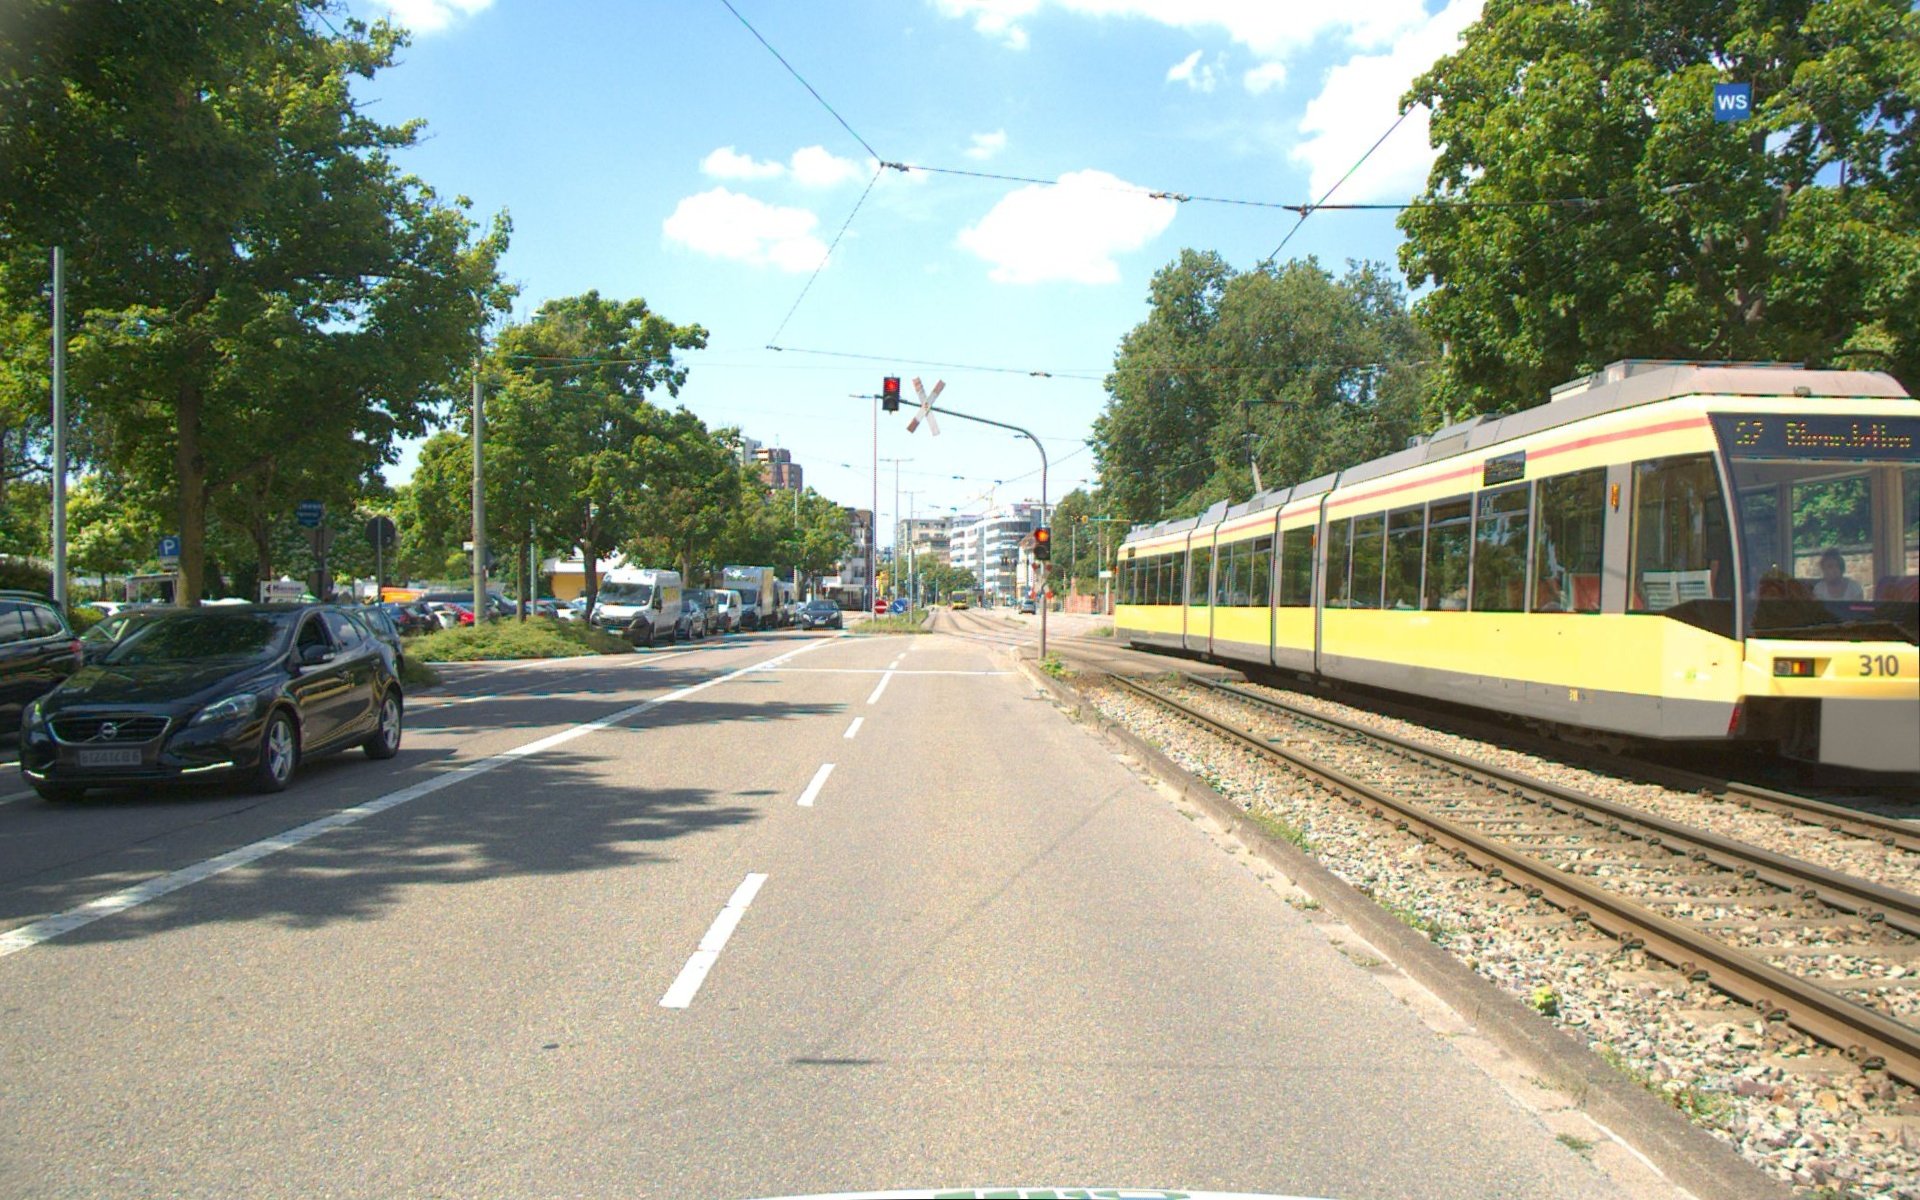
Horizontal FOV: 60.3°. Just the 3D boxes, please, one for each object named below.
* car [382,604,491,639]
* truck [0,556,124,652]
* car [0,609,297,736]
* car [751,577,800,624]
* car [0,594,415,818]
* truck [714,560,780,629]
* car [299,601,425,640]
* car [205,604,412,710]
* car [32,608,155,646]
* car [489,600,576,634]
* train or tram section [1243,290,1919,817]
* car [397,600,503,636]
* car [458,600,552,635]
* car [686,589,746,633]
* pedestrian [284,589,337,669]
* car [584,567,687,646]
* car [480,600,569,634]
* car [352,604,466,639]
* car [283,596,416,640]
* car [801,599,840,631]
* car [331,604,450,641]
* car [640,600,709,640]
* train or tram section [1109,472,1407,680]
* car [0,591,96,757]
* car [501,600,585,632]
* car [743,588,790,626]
[{"bbox_3d":[-21.573,0.875,68.238,3.906,1.363,1.804,0,0,-2],"label":"car"},{"bbox_3d":[-33.518,0.151,58.091,7.043,3.284,2.331,0,0,-3],"label":"truck"},{"bbox_3d":[-10.485,0.861,21.745,1.739,1.397,4.695,2,0,-2],"label":"car"},{"bbox_3d":[-11.095,0.014,99.990,2.112,2.685,5.612,2,0,2],"label":"car"},{"bbox_3d":[-5.929,0.718,13.402,1.739,1.485,4.193,-1,0,-2],"label":"car"},{"bbox_3d":[-10.845,-0.273,84.702,2.112,3.266,7.083,3,0,2],"label":"truck"},{"bbox_3d":[-21.503,0.722,59.578,3.906,1.363,1.804,0,0,-2],"label":"car"},{"bbox_3d":[-10.392,0.856,26.692,1.738,1.506,4.047,2,0,-1],"label":"car"},{"bbox_3d":[-34.325,1.066,65.597,3.906,1.467,1.804,0,0,-2],"label":"car"},{"bbox_3d":[-21.553,0.844,83.491,3.906,1.634,1.804,0,0,-2],"label":"car"},{"bbox_3d":[6.792,-0.362,21.076,2.884,3.756,18.385,1,0,-1],"label":"train or tram section"},{"bbox_3d":[-21.621,0.766,70.231,3.906,1.467,1.805,0,0,-1],"label":"car"},{"bbox_3d":[-21.395,0.811,77.883,3.906,1.634,1.804,0,0,-2],"label":"car"},{"bbox_3d":[-11.171,0.490,75.935,2.019,1.931,4.871,0,0,0],"label":"car"},{"bbox_3d":[-15.286,0.667,38.965,0.955,1.855,0.794,0,0,-4],"label":"pedestrian"},{"bbox_3d":[-10.988,0.199,56.577,2.112,2.530,6.194,0,0,2],"label":"car"},{"bbox_3d":[-21.367,0.833,81.210,3.906,1.634,1.804,0,0,-2],"label":"car"},{"bbox_3d":[-21.850,0.837,65.672,3.906,1.363,1.804,0,0,-2],"label":"car"},{"bbox_3d":[-21.056,0.621,57.167,3.906,1.467,1.804,0,0,-2],"label":"car"},{"bbox_3d":[-6.624,0.698,79.067,1.644,1.422,4.003,-2,0,-3],"label":"car"},{"bbox_3d":[-21.669,0.833,63.037,3.906,1.363,1.804,0,0,-2],"label":"car"},{"bbox_3d":[-10.790,0.722,62.740,1.830,1.462,4.342,0,0,0],"label":"car"},{"bbox_3d":[6.359,-0.484,40.330,2.884,3.756,20.275,1,0,-2],"label":"train or tram section"},{"bbox_3d":[-10.397,0.726,16.013,1.739,1.632,4.635,1,0,-2],"label":"car"},{"bbox_3d":[-21.615,0.830,85.846,3.906,1.634,1.804,0,0,-2],"label":"car"},{"bbox_3d":[-10.722,0.370,91.997,2.019,2.011,4.871,0,0,0],"label":"car"}]
